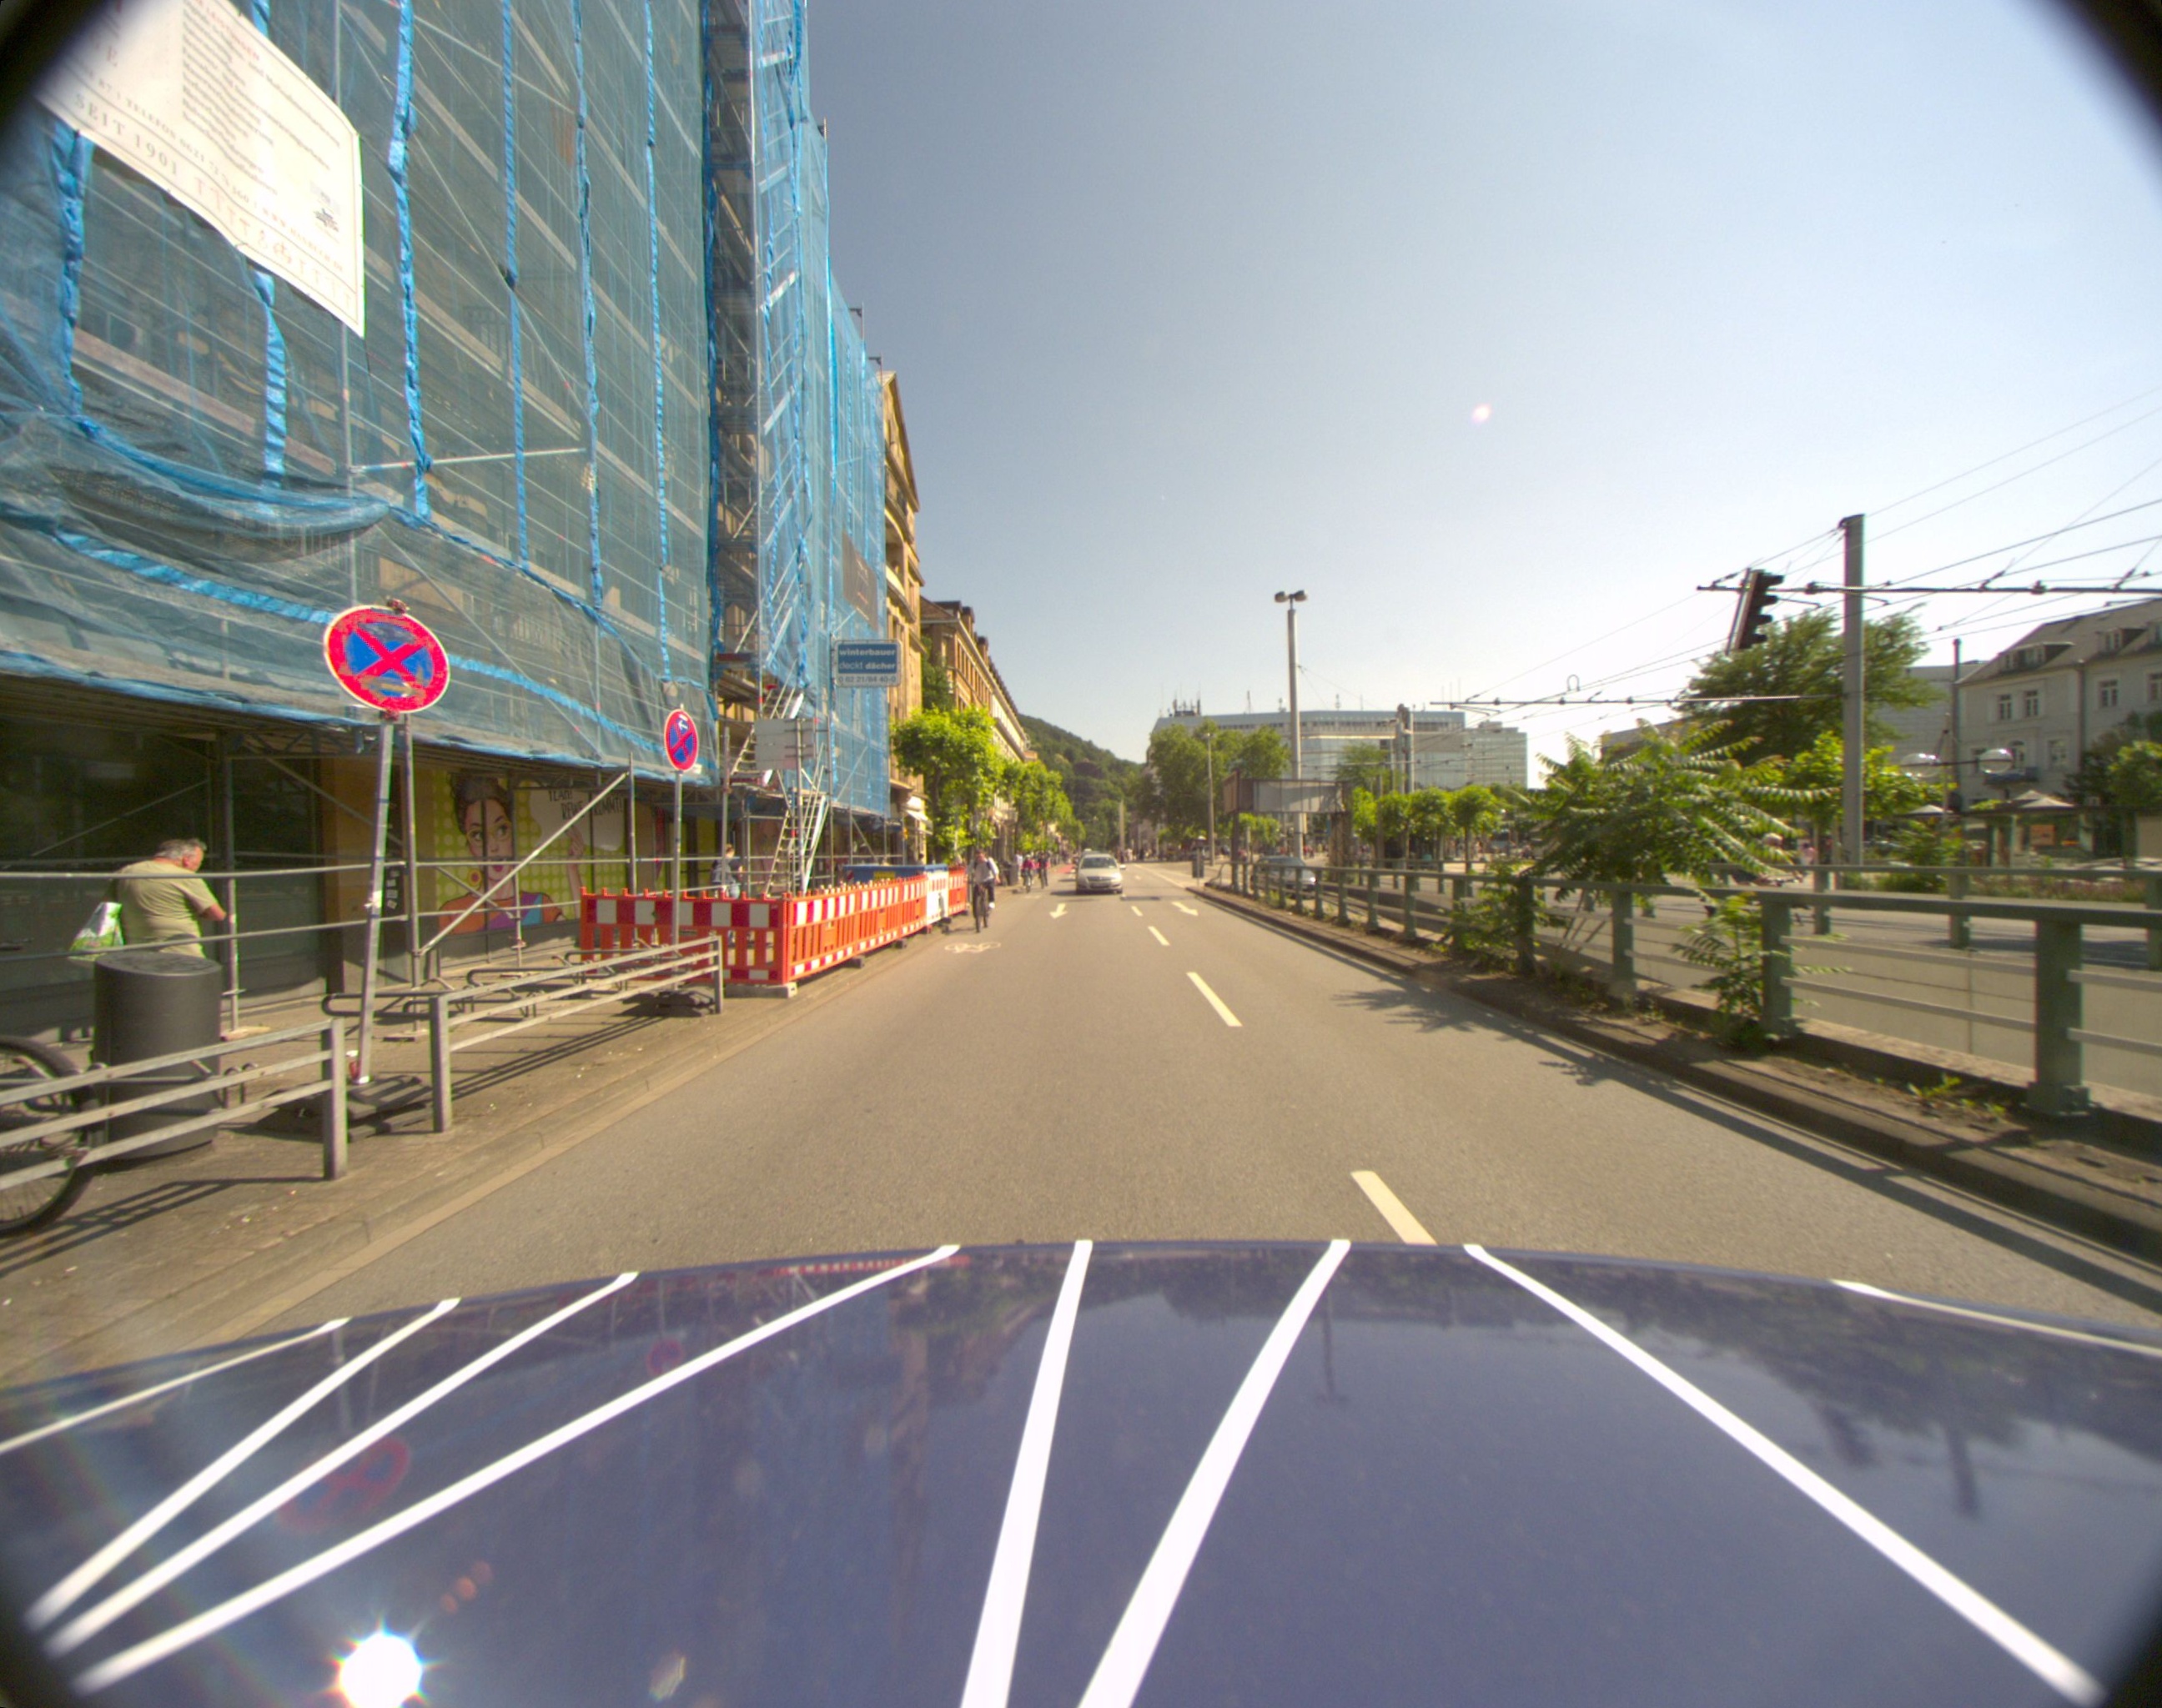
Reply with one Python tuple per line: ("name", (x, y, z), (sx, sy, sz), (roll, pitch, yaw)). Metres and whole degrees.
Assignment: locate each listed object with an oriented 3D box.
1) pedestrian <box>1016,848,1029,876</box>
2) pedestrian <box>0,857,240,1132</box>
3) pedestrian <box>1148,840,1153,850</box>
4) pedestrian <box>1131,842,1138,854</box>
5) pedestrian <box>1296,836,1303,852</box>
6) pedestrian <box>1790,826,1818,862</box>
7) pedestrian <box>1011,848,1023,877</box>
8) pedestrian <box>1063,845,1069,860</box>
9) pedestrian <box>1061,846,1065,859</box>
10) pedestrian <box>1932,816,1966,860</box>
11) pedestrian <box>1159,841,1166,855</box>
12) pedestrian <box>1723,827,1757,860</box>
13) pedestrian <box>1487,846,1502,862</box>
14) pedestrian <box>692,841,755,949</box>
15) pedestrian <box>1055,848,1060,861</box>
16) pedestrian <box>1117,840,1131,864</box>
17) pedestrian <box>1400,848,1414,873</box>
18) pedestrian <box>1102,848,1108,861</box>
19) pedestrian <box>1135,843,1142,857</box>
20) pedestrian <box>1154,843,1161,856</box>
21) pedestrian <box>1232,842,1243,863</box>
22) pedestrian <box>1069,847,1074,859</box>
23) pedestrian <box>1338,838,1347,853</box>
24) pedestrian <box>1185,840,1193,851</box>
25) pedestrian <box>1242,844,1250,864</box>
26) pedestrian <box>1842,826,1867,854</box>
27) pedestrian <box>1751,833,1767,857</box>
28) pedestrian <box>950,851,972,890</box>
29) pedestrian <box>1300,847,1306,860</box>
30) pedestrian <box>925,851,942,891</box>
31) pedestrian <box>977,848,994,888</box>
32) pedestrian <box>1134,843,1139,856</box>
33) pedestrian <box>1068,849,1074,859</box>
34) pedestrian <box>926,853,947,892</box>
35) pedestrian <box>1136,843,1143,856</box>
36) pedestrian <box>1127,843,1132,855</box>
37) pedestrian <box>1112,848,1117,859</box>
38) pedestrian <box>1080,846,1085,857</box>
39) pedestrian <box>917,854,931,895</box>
("pedestrian", (-3.429, 0.476, 44.235), (0.697, 1.617, 0.701), (0, 2, -9))
("pedestrian", (-6.231, 0.837, 4.890), (0.645, 1.592, 0.765), (-3, 1, -1))
("pedestrian", (12.264, -1.557, 133.425), (0.732, 1.661, 0.640), (-3, 2, 15))
("pedestrian", (7.610, -0.861, 108.492), (0.876, 1.737, 0.733), (-3, 1, 0))
("pedestrian", (24.029, -1.113, 83.714), (0.577, 1.805, 0.605), (1, 1, 1))
("pedestrian", (34.793, -0.493, 36.561), (0.678, 1.696, 0.705), (-2, 1, 0))
("pedestrian", (-3.629, 0.500, 43.126), (0.601, 1.617, 0.643), (1, 1, -11))
("pedestrian", (-1.957, -0.215, 98.439), (0.578, 1.835, 0.717), (-3, 1, -2))
("pedestrian", (-2.406, -0.182, 102.373), (0.578, 1.775, 0.699), (0, 1, -2))
("pedestrian", (39.886, -0.712, 34.922), (0.630, 1.996, 0.736), (1, 1, 6))
("pedestrian", (10.266, -0.760, 95.511), (0.643, 1.682, 0.642), (-4, 2, -12))
("pedestrian", (36.602, -0.565, 42.224), (0.967, 1.783, 1.081), (1, 1, 10))
("pedestrian", (26.433, -0.024, 48.560), (0.635, 0.995, 0.580), (1, 1, 3))
("pedestrian", (-6.072, 0.680, 12.928), (0.641, 1.766, 0.649), (-3, 1, 1))
("pedestrian", (-3.015, 0.034, 98.587), (0.578, 1.675, 0.775), (-3, 1, -2))
("pedestrian", (3.584, -0.154, 62.833), (0.897, 1.996, 0.678), (-2, 1, -43))
("pedestrian", (21.797, 0.438, 50.791), (0.577, 1.600, 0.602), (1, 1, -28))
("pedestrian", (3.297, 0.063, 103.650), (0.699, 1.775, 0.578), (0, 1, -5))
("pedestrian", (7.654, -0.486, 100.561), (0.537, 1.773, 0.745), (-2, 2, 36))
("pedestrian", (10.476, -0.600, 104.218), (0.751, 1.737, 0.666), (-3, 1, 0))
("pedestrian", (12.809, -0.138, 62.181), (0.527, 1.723, 0.586), (1, 1, -29))
("pedestrian", (-1.475, -0.176, 118.558), (0.649, 1.770, 0.622), (1, 3, 17))
("pedestrian", (25.528, -0.794, 74.257), (0.626, 1.457, 0.552), (1, 1, -21))
("pedestrian", (14.167, -1.160, 99.686), (0.752, 1.400, 0.782), (-4, 1, -9))
("pedestrian", (13.496, -0.017, 62.132), (0.525, 1.600, 0.627), (1, 1, 10))
("pedestrian", (43.366, -0.783, 42.600), (0.743, 1.589, 0.618), (0, 1, -11))
("pedestrian", (35.649, -0.465, 39.952), (0.404, 1.256, 0.481), (1, 1, -18))
("pedestrian", (-5.771, 0.805, 36.688), (0.816, 1.838, 0.891), (0, 2, 8))
("pedestrian", (28.285, -0.070, 96.855), (0.477, 1.540, 0.451), (1, 1, -26))
("pedestrian", (-6.240, 0.701, 32.199), (0.498, 1.673, 0.538), (1, 2, 19))
("pedestrian", (-4.106, 0.590, 32.733), (0.658, 1.674, 0.653), (-2, 2, -4))
("pedestrian", (7.558, -0.622, 104.077), (0.612, 1.737, 0.752), (-2, 1, 0))
("pedestrian", (-1.359, -0.022, 108.239), (0.672, 1.488, 0.637), (-3, 2, -13))
("pedestrian", (-6.799, 0.861, 35.829), (0.669, 1.771, 0.985), (-1, 2, 5))
("pedestrian", (7.636, -0.574, 98.751), (0.630, 1.639, 0.753), (-3, 2, 27))
("pedestrian", (6.963, -0.702, 110.000), (0.575, 1.704, 0.652), (-3, 1, 0))
("pedestrian", (5.354, -0.090, 121.613), (0.699, 1.775, 0.578), (0, 1, -5))
("pedestrian", (0.229, -0.326, 109.831), (0.546, 1.488, 0.637), (3, 1, -7))
("pedestrian", (-6.517, 0.858, 31.545), (0.381, 1.673, 0.477), (0, 2, 18))
